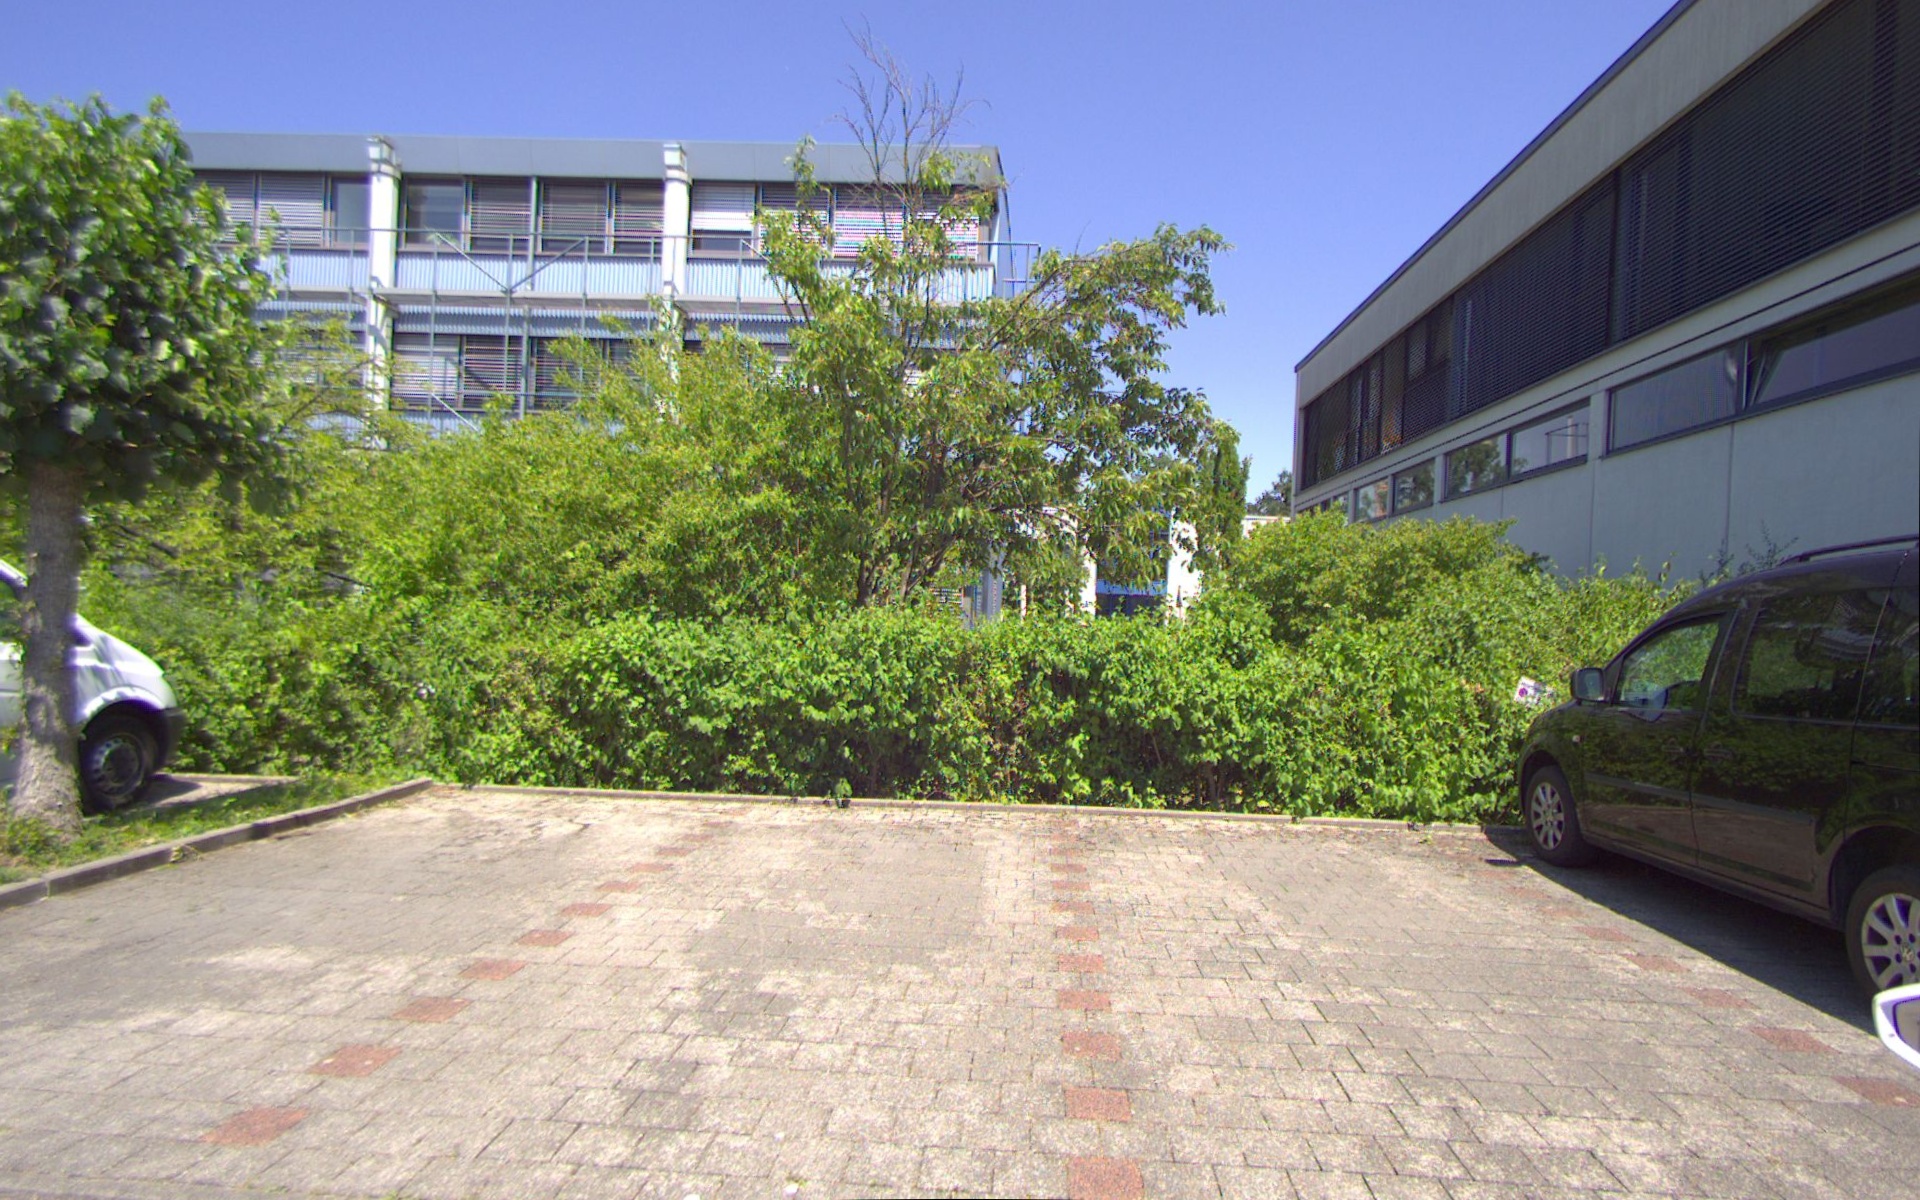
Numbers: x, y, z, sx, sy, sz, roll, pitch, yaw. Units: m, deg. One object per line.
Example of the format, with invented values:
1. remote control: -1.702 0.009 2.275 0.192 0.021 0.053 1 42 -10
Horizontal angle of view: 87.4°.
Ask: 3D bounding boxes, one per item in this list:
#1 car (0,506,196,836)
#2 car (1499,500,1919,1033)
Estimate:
1. car: -6.561 0.389 4.937 1.793 1.931 4.737 1 -1 3
2. car: 4.382 0.624 4.839 1.645 1.909 4.073 1 0 5
